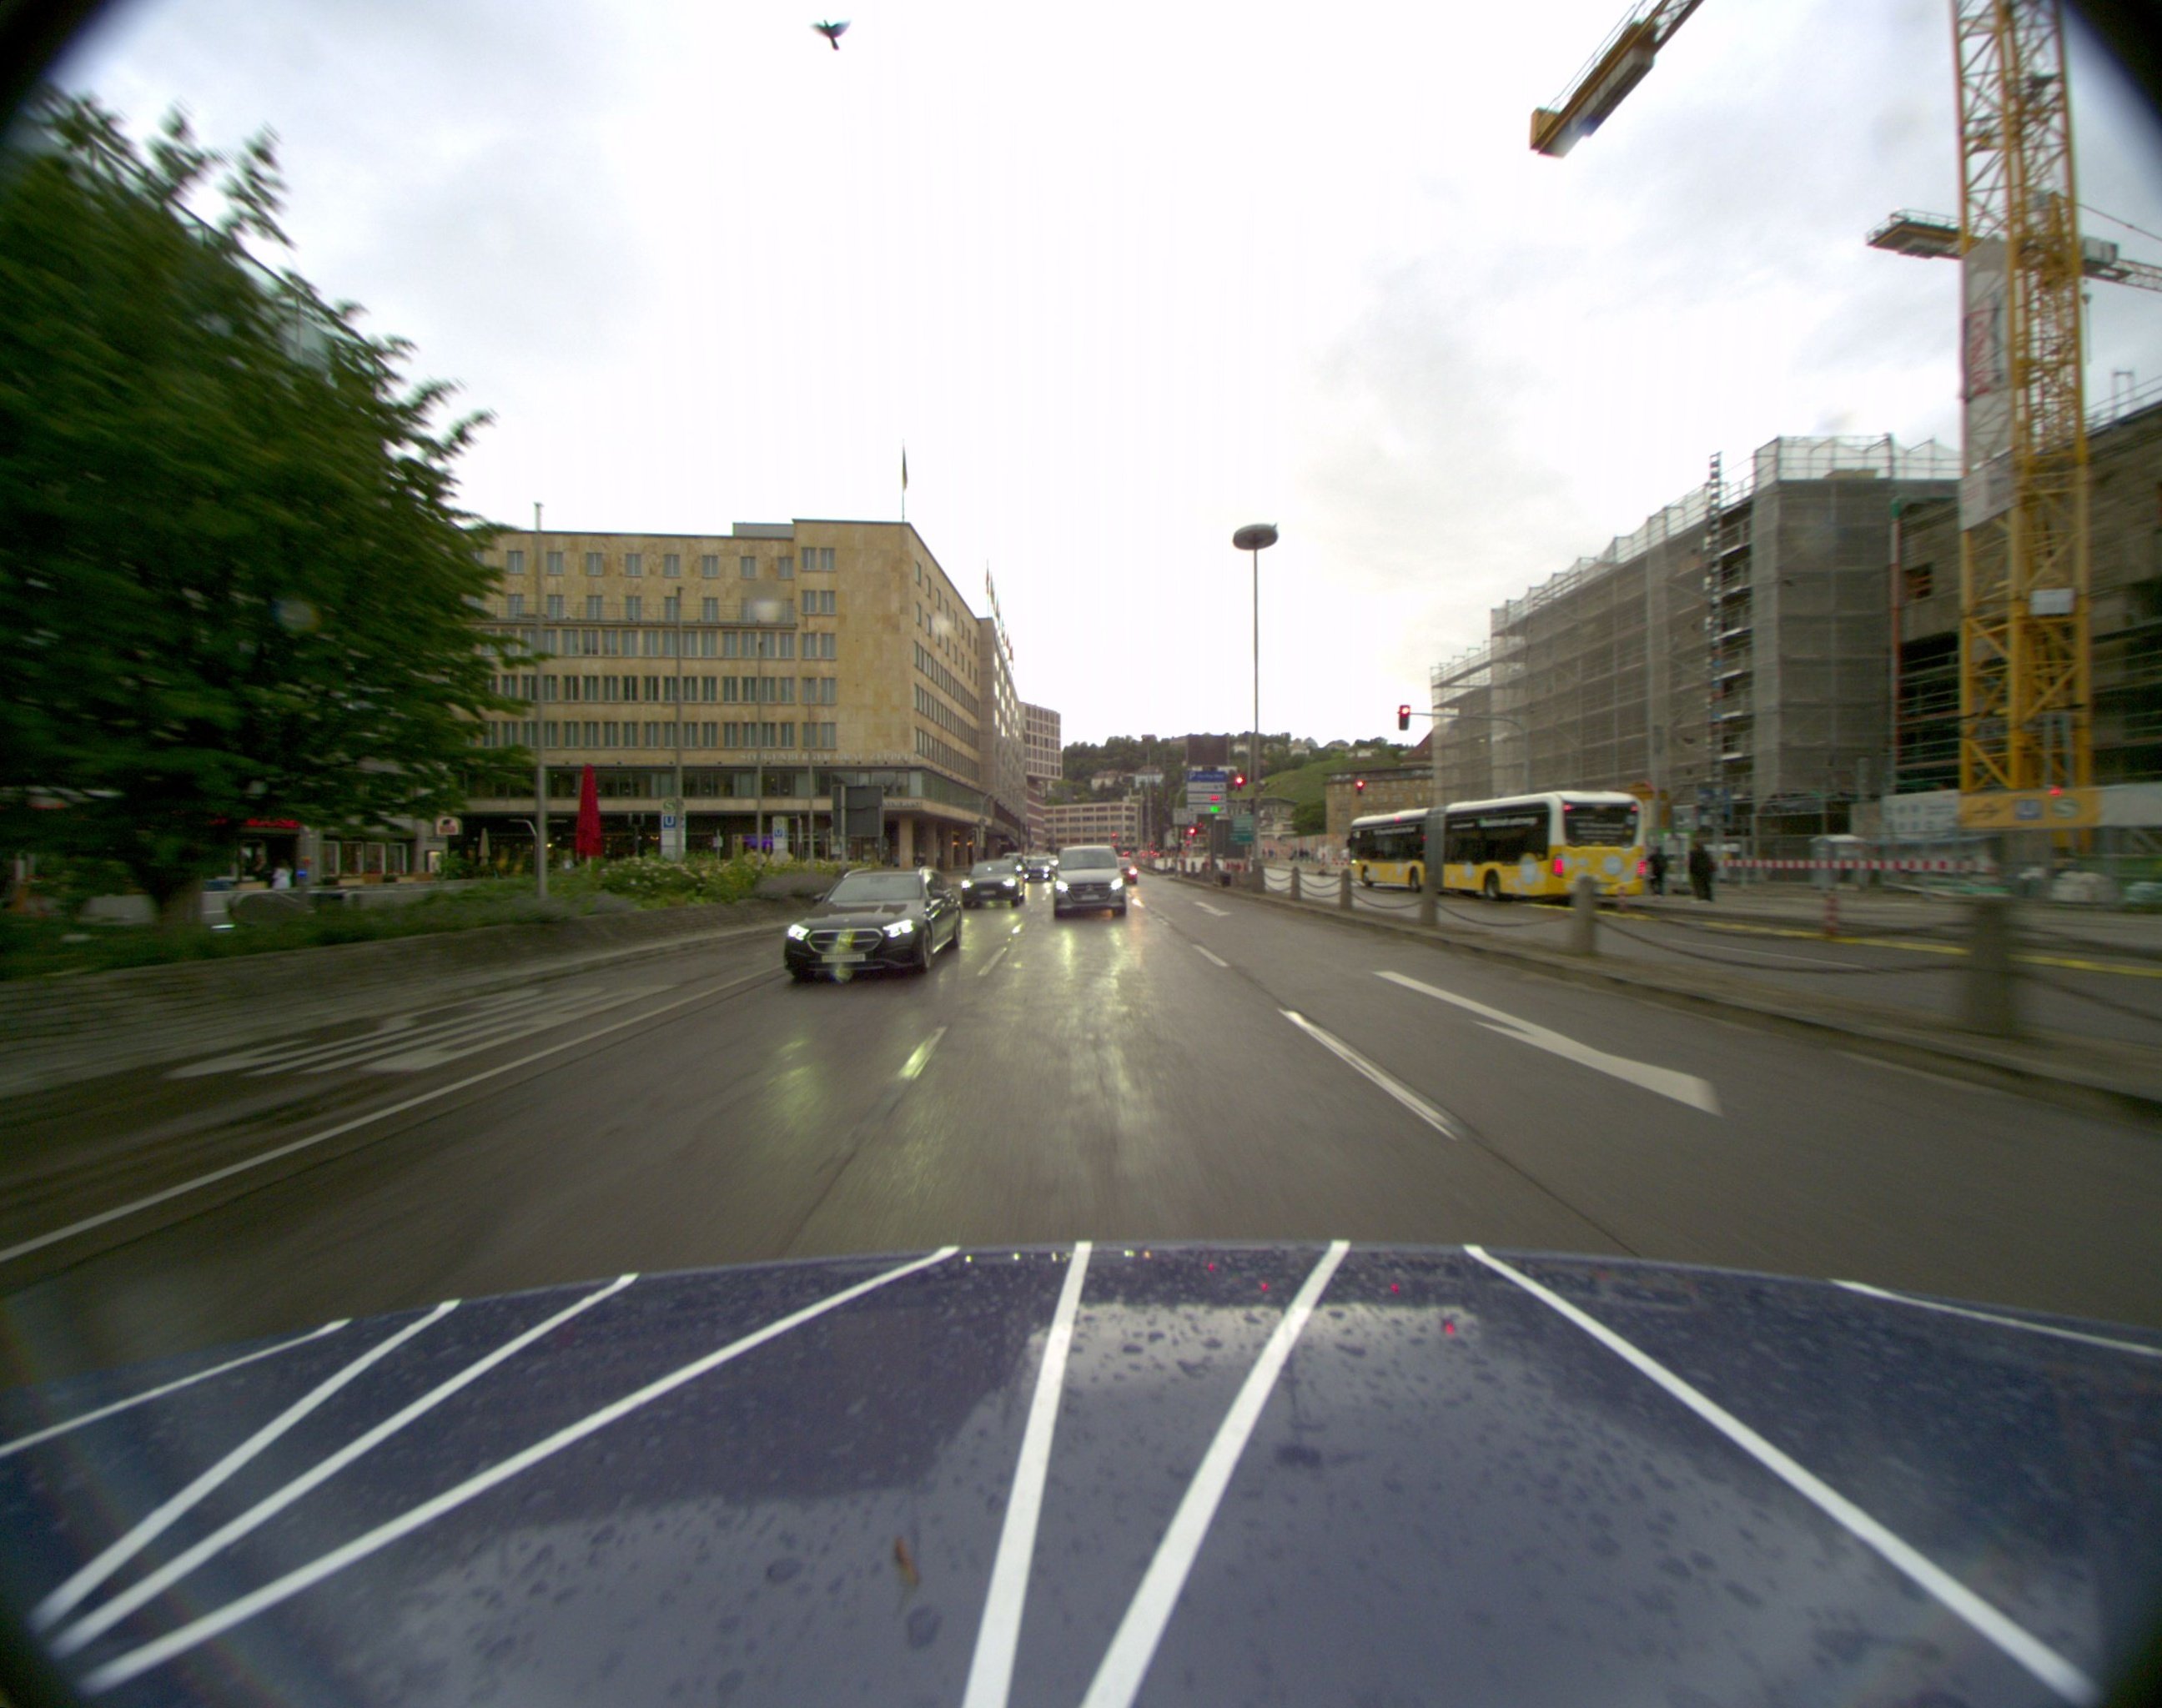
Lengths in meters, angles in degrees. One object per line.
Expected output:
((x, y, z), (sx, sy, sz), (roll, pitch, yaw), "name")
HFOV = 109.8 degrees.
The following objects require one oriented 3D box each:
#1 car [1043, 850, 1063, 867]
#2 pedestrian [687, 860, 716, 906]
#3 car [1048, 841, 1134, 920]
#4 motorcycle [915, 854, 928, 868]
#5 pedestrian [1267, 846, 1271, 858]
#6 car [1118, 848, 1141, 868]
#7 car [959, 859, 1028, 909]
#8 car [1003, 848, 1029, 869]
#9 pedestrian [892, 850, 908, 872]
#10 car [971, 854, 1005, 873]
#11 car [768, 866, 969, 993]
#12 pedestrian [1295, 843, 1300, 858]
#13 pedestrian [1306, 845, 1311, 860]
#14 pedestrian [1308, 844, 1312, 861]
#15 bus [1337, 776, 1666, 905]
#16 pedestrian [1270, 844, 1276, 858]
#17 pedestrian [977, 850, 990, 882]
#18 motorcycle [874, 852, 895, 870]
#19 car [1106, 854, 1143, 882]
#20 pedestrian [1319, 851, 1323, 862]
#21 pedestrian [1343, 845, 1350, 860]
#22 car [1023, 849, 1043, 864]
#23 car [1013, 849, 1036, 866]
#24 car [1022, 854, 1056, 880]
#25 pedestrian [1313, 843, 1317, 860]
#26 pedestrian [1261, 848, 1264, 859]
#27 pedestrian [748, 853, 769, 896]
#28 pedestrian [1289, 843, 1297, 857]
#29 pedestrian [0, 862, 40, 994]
((-2.879, 0.465, 78.777), (1.763, 1.582, 3.842), (-2, 1, 0), "car")
((-14.739, 1.114, 29.520), (0.699, 1.741, 0.837), (-1, 1, -3), "pedestrian")
((0.144, 0.647, 21.621), (1.999, 1.893, 5.248), (-2, 1, -3), "car")
((-15.025, 0.659, 71.678), (0.730, 1.223, 2.536), (-1, 1, 0), "motorcycle")
((26.268, -0.246, 106.138), (0.438, 1.606, 0.413), (-1, 1, 0), "pedestrian")
((4.048, 0.320, 63.434), (1.672, 1.513, 3.724), (-2, 1, 0), "car")
((-2.933, 0.986, 26.350), (1.877, 1.499, 4.164), (-1, 1, 0), "car")
((-5.979, 0.374, 70.636), (1.998, 1.873, 4.996), (-1, 1, 0), "car")
((-15.542, 0.610, 65.285), (1.000, 1.836, 1.109), (0, 1, 2), "pedestrian")
((-7.504, 0.755, 61.508), (2.194, 1.405, 4.481), (-1, 1, 0), "car")
((-3.044, 0.998, 12.019), (1.823, 1.455, 4.699), (-2, 1, 0), "car")
((27.031, -0.436, 94.876), (0.517, 1.745, 0.463), (-2, 1, 0), "pedestrian")
((24.275, -0.148, 80.957), (0.400, 1.611, 0.365), (-2, 1, 5), "pedestrian")
((24.201, -0.158, 80.150), (0.311, 1.759, 0.346), (-1, 1, 4), "pedestrian")
((14.757, -0.458, 30.418), (2.917, 3.557, 19.076), (0, 1, 1), "bus")
((26.920, -0.441, 106.424), (0.593, 2.022, 0.686), (-1, 1, 0), "pedestrian")
((-6.067, 0.742, 47.184), (0.674, 1.908, 0.792), (-1, 1, 0), "pedestrian")
((-16.734, 0.602, 64.805), (0.964, 1.444, 2.850), (-1, 1, 0), "motorcycle")
((2.303, 0.744, 40.939), (1.747, 1.369, 3.999), (-1, 1, 0), "car")
((25.252, 0.251, 79.971), (0.255, 1.187, 0.390), (-2, 1, 6), "pedestrian")
((25.474, -0.122, 72.932), (0.565, 1.435, 0.528), (-1, 1, 7), "pedestrian")
((-5.605, 0.257, 88.874), (1.998, 1.600, 4.875), (-1, 1, 0), "car")
((-5.680, 0.353, 76.864), (1.998, 1.644, 5.134), (-1, 1, 0), "car")
((-2.675, 0.830, 49.513), (1.998, 1.549, 3.908), (-1, 1, 0), "car")
((24.661, -0.259, 80.067), (0.314, 1.760, 0.268), (-2, 1, 4), "pedestrian")
((26.684, -0.106, 111.695), (0.438, 1.606, 0.413), (-1, 1, 0), "pedestrian")
((-13.765, 0.876, 32.452), (0.536, 1.780, 0.681), (-1, 1, 3), "pedestrian")
((25.057, -0.500, 89.967), (0.807, 1.675, 0.617), (-1, 1, 3), "pedestrian")
((-14.635, 0.991, 10.158), (0.568, 1.741, 0.567), (-1, 1, -3), "pedestrian")
